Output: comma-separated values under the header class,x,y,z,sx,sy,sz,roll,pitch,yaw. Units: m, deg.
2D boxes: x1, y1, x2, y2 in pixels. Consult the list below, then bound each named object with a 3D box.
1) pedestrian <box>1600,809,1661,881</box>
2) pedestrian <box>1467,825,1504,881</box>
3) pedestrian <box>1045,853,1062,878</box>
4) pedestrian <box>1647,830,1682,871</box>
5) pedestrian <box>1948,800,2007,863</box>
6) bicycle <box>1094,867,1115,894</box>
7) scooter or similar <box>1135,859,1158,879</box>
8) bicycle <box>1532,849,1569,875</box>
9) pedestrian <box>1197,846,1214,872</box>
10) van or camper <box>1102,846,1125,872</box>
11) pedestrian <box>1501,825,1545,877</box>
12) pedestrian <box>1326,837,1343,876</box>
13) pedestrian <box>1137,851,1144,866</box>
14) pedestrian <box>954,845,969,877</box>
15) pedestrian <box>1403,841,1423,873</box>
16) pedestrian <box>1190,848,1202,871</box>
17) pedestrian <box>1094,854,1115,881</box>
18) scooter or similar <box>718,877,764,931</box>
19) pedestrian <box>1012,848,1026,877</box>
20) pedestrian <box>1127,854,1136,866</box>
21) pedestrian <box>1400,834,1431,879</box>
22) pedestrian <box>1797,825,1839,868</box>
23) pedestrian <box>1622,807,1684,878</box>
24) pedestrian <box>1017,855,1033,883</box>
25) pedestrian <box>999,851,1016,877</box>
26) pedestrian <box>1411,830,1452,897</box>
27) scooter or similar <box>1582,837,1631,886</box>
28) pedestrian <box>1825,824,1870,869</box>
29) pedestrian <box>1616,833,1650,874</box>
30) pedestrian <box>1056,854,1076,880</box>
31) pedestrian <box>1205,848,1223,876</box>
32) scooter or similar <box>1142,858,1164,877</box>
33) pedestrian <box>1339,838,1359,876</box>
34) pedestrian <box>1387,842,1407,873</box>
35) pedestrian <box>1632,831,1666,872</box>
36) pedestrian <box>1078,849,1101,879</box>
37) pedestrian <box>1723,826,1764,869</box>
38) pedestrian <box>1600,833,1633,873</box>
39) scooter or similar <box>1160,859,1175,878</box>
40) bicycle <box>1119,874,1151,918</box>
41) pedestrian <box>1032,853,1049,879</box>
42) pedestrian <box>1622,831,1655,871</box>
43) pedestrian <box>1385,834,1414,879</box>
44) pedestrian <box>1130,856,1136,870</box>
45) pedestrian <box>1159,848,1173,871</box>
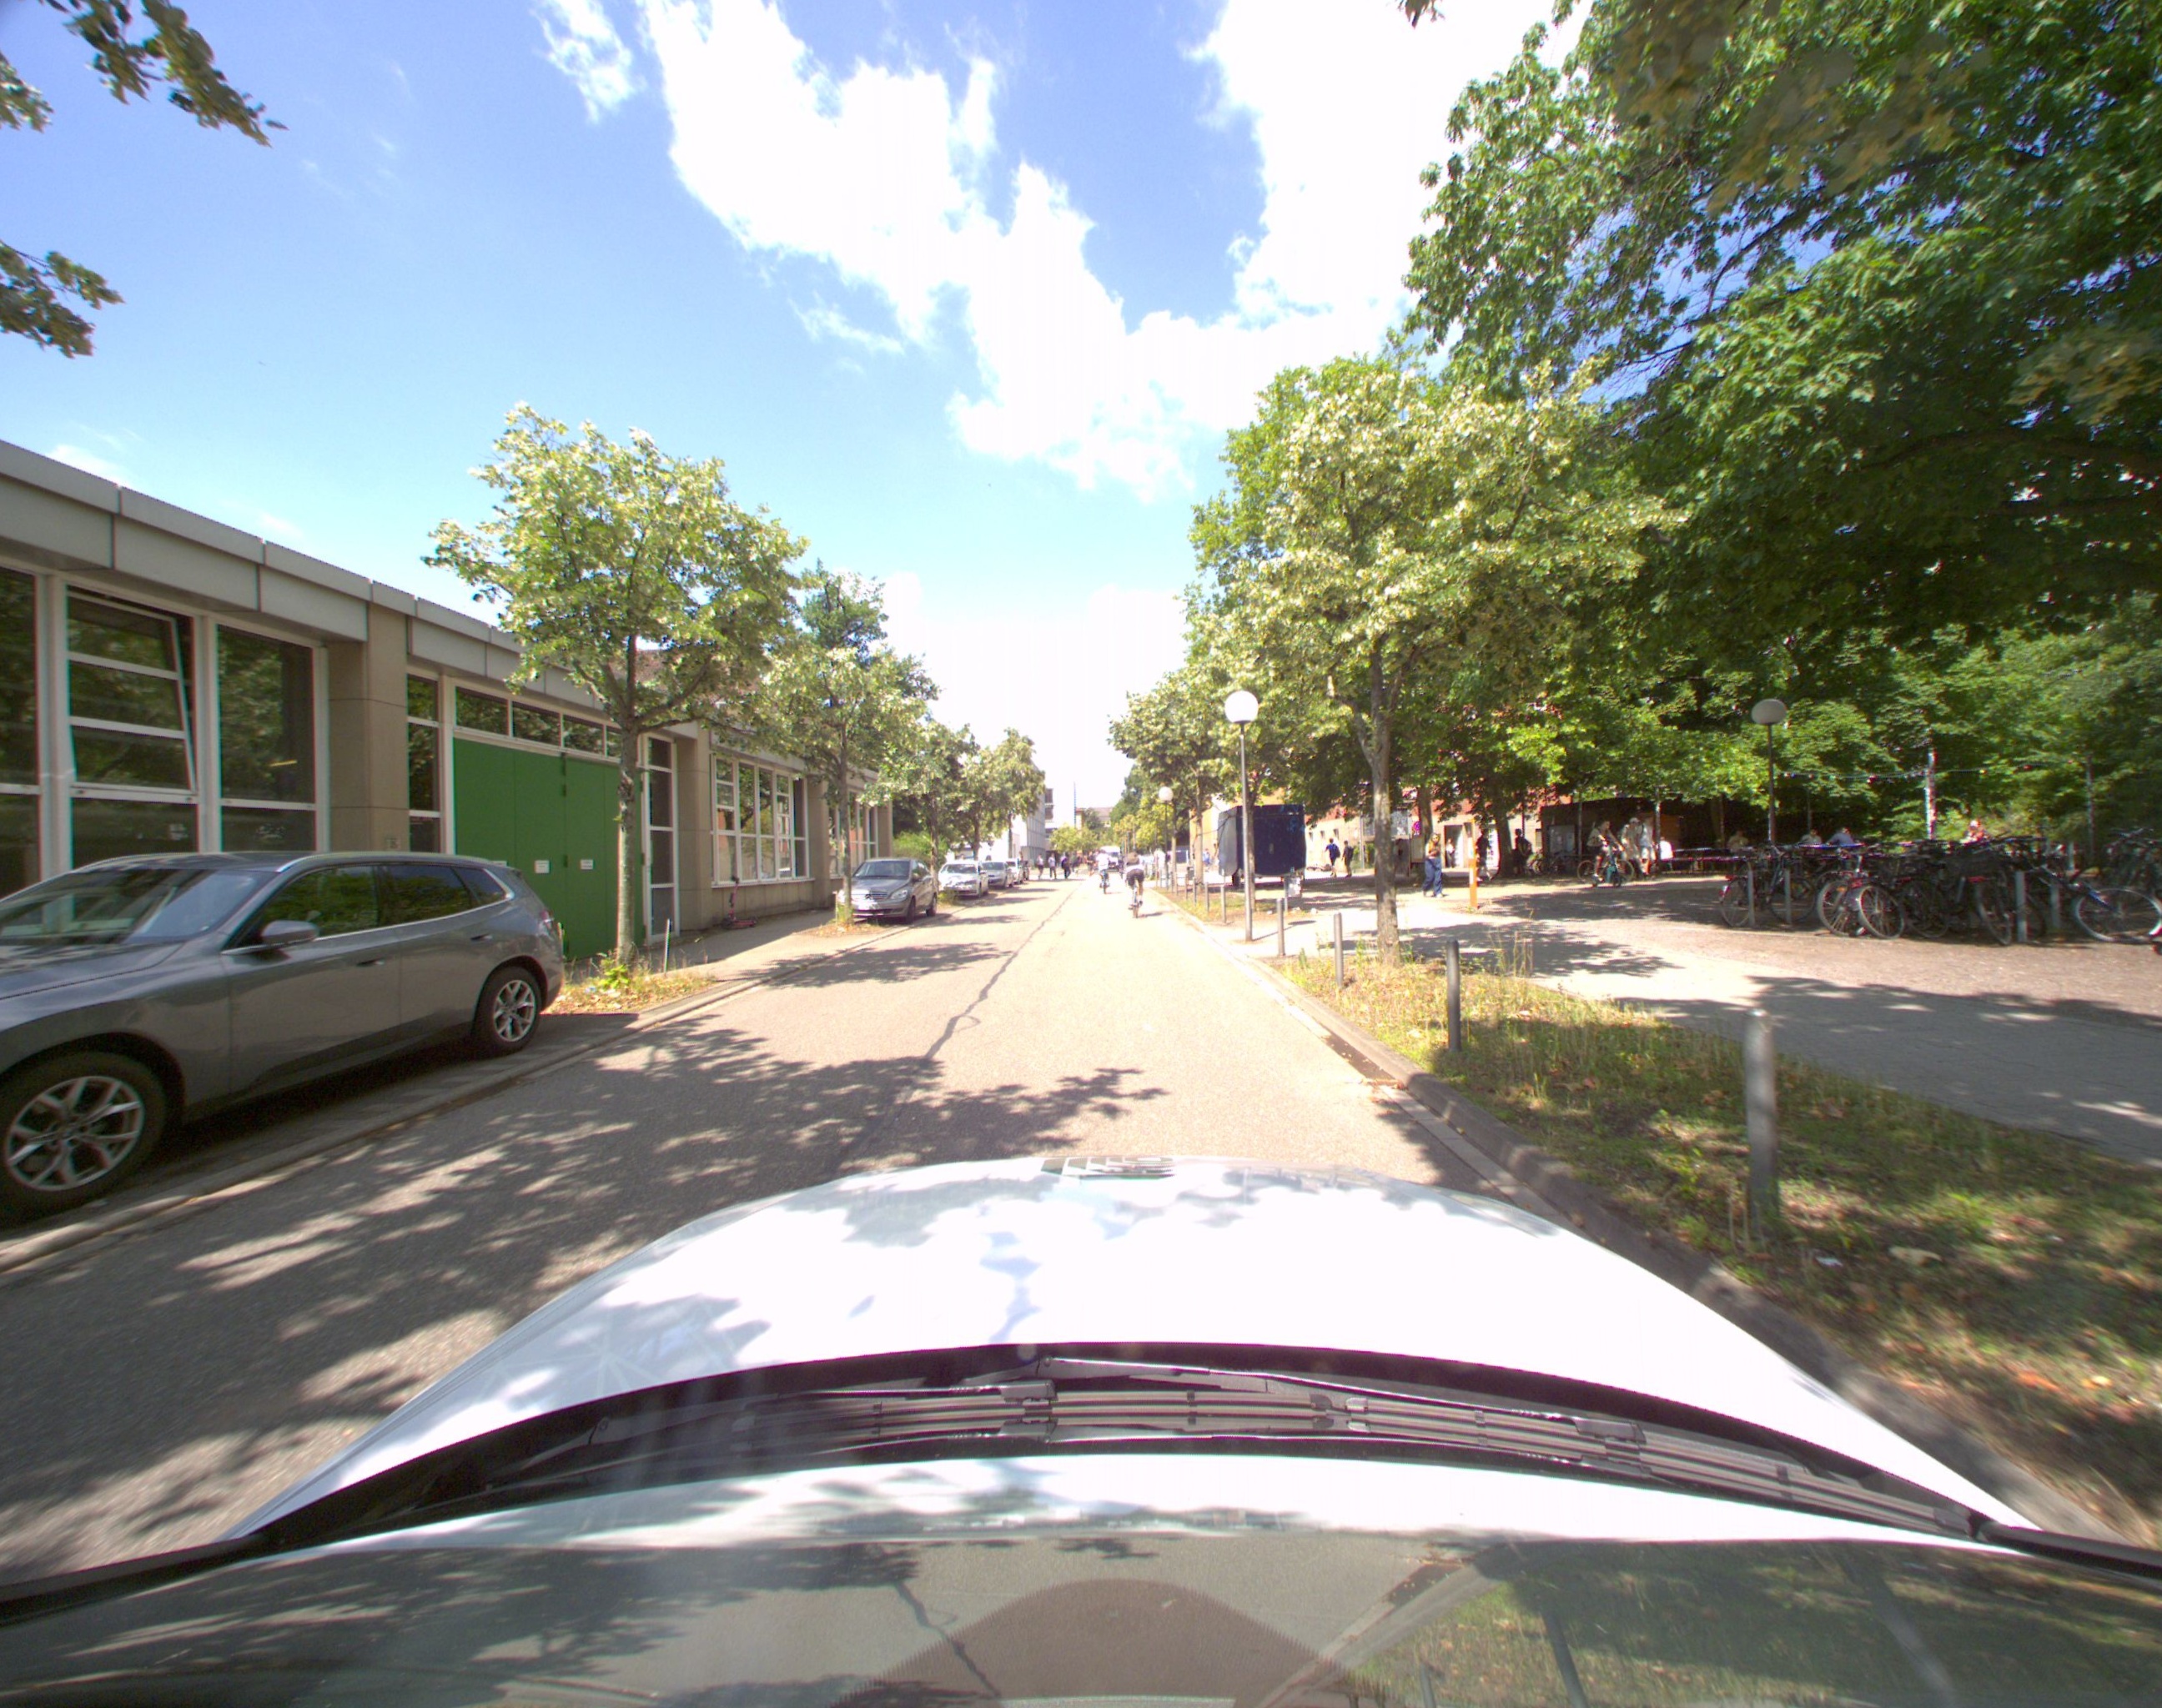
class,x,y,z,sx,sy,sz,roll,pitch,yaw
pedestrian,15.521,-0.255,23.028,0.835,1.949,1.072,-4,0,-19
pedestrian,13.821,-0.038,27.835,0.762,1.855,0.824,-3,-1,1
pedestrian,-1.908,0.780,55.630,0.897,1.739,0.683,-1,0,39
pedestrian,20.114,-0.131,28.066,0.568,1.346,0.728,-5,0,-3
pedestrian,23.624,-0.579,21.463,0.665,1.581,0.718,-5,0,-3
bicycle,1.003,1.112,34.494,0.805,1.002,2.125,-4,0,2
scooter or similar,4.249,0.992,52.990,1.248,1.265,0.655,-2,-1,33
bicycle,21.823,0.358,37.887,0.571,1.140,2.027,-1,0,2
pedestrian,9.210,0.367,60.160,0.712,1.787,0.746,-8,2,-26
van or camper,3.272,0.481,81.105,1.984,2.446,4.575,-2,-1,4
pedestrian,15.460,-0.111,28.516,0.957,1.775,0.917,-2,0,-7
pedestrian,12.151,0.117,39.023,0.593,1.796,0.406,-4,1,-2
pedestrian,7.613,0.542,104.646,0.787,1.860,1.026,-3,0,3
pedestrian,-6.771,0.406,46.255,0.707,1.717,1.105,5,-5,-7
pedestrian,17.536,0.158,43.002,0.657,1.607,0.678,-2,-1,-14
pedestrian,8.430,0.439,59.819,0.504,1.630,0.566,-8,2,-26
pedestrian,1.441,0.845,49.912,0.855,1.595,0.820,-3,0,-42
scooter or similar,-7.832,1.131,18.811,0.503,1.169,1.216,0,0,2
pedestrian,-4.423,0.618,57.882,0.620,1.980,0.821,-2,-2,-30
pedestrian,9.148,1.127,147.294,1.495,1.996,1.646,-5,0,0
pedestrian,12.552,0.098,30.595,0.762,1.661,0.824,-3,-1,1
pedestrian,22.874,-0.224,25.295,0.665,1.271,0.621,-5,0,-3
pedestrian,16.372,-0.318,23.325,0.835,1.949,1.072,-4,0,-19
pedestrian,-4.059,1.093,58.882,0.818,1.980,0.696,2,1,26
pedestrian,-5.222,0.688,57.717,0.794,1.772,0.859,2,1,26
pedestrian,8.630,0.227,20.079,0.566,1.571,0.928,-3,-1,2
scooter or similar,13.558,0.196,21.055,0.422,1.219,1.295,-2,-1,2
pedestrian,22.971,-0.225,24.408,0.665,1.271,0.621,-5,0,-3
pedestrian,18.974,-0.032,27.990,0.568,1.346,0.728,-5,0,-3
pedestrian,-0.992,0.856,53.716,0.981,1.720,0.707,0,-3,43
pedestrian,8.367,0.501,51.325,0.872,1.637,0.949,-6,0,2
scooter or similar,4.831,0.916,54.635,1.248,1.265,0.644,-2,-1,33
pedestrian,12.956,0.124,39.411,0.593,1.796,0.727,-4,1,-2
pedestrian,16.974,0.188,43.746,0.657,1.607,0.678,-2,-1,-14
pedestrian,19.546,-0.082,28.029,0.568,1.346,0.728,-5,0,-3
pedestrian,0.541,0.668,52.284,1.102,1.860,0.859,-3,-1,44
pedestrian,21.913,-0.215,26.952,0.665,1.346,0.718,-5,0,-3
pedestrian,18.998,-0.044,28.895,0.568,1.346,0.728,-5,0,-3
scooter or similar,5.559,0.945,52.253,0.643,1.160,1.270,-2,0,17
bicycle,1.363,1.029,20.384,0.703,0.993,1.912,-3,-1,4
pedestrian,-2.739,0.804,55.144,0.971,1.739,0.705,-1,-1,41
pedestrian,19.805,-0.112,28.937,0.568,1.346,0.728,-5,0,-3
pedestrian,11.905,0.093,30.448,0.694,1.661,0.788,-3,-1,1
pedestrian,6.789,1.199,106.549,0.787,1.860,1.026,-2,0,3
pedestrian,6.331,0.416,60.716,0.952,1.694,0.707,1,2,11
